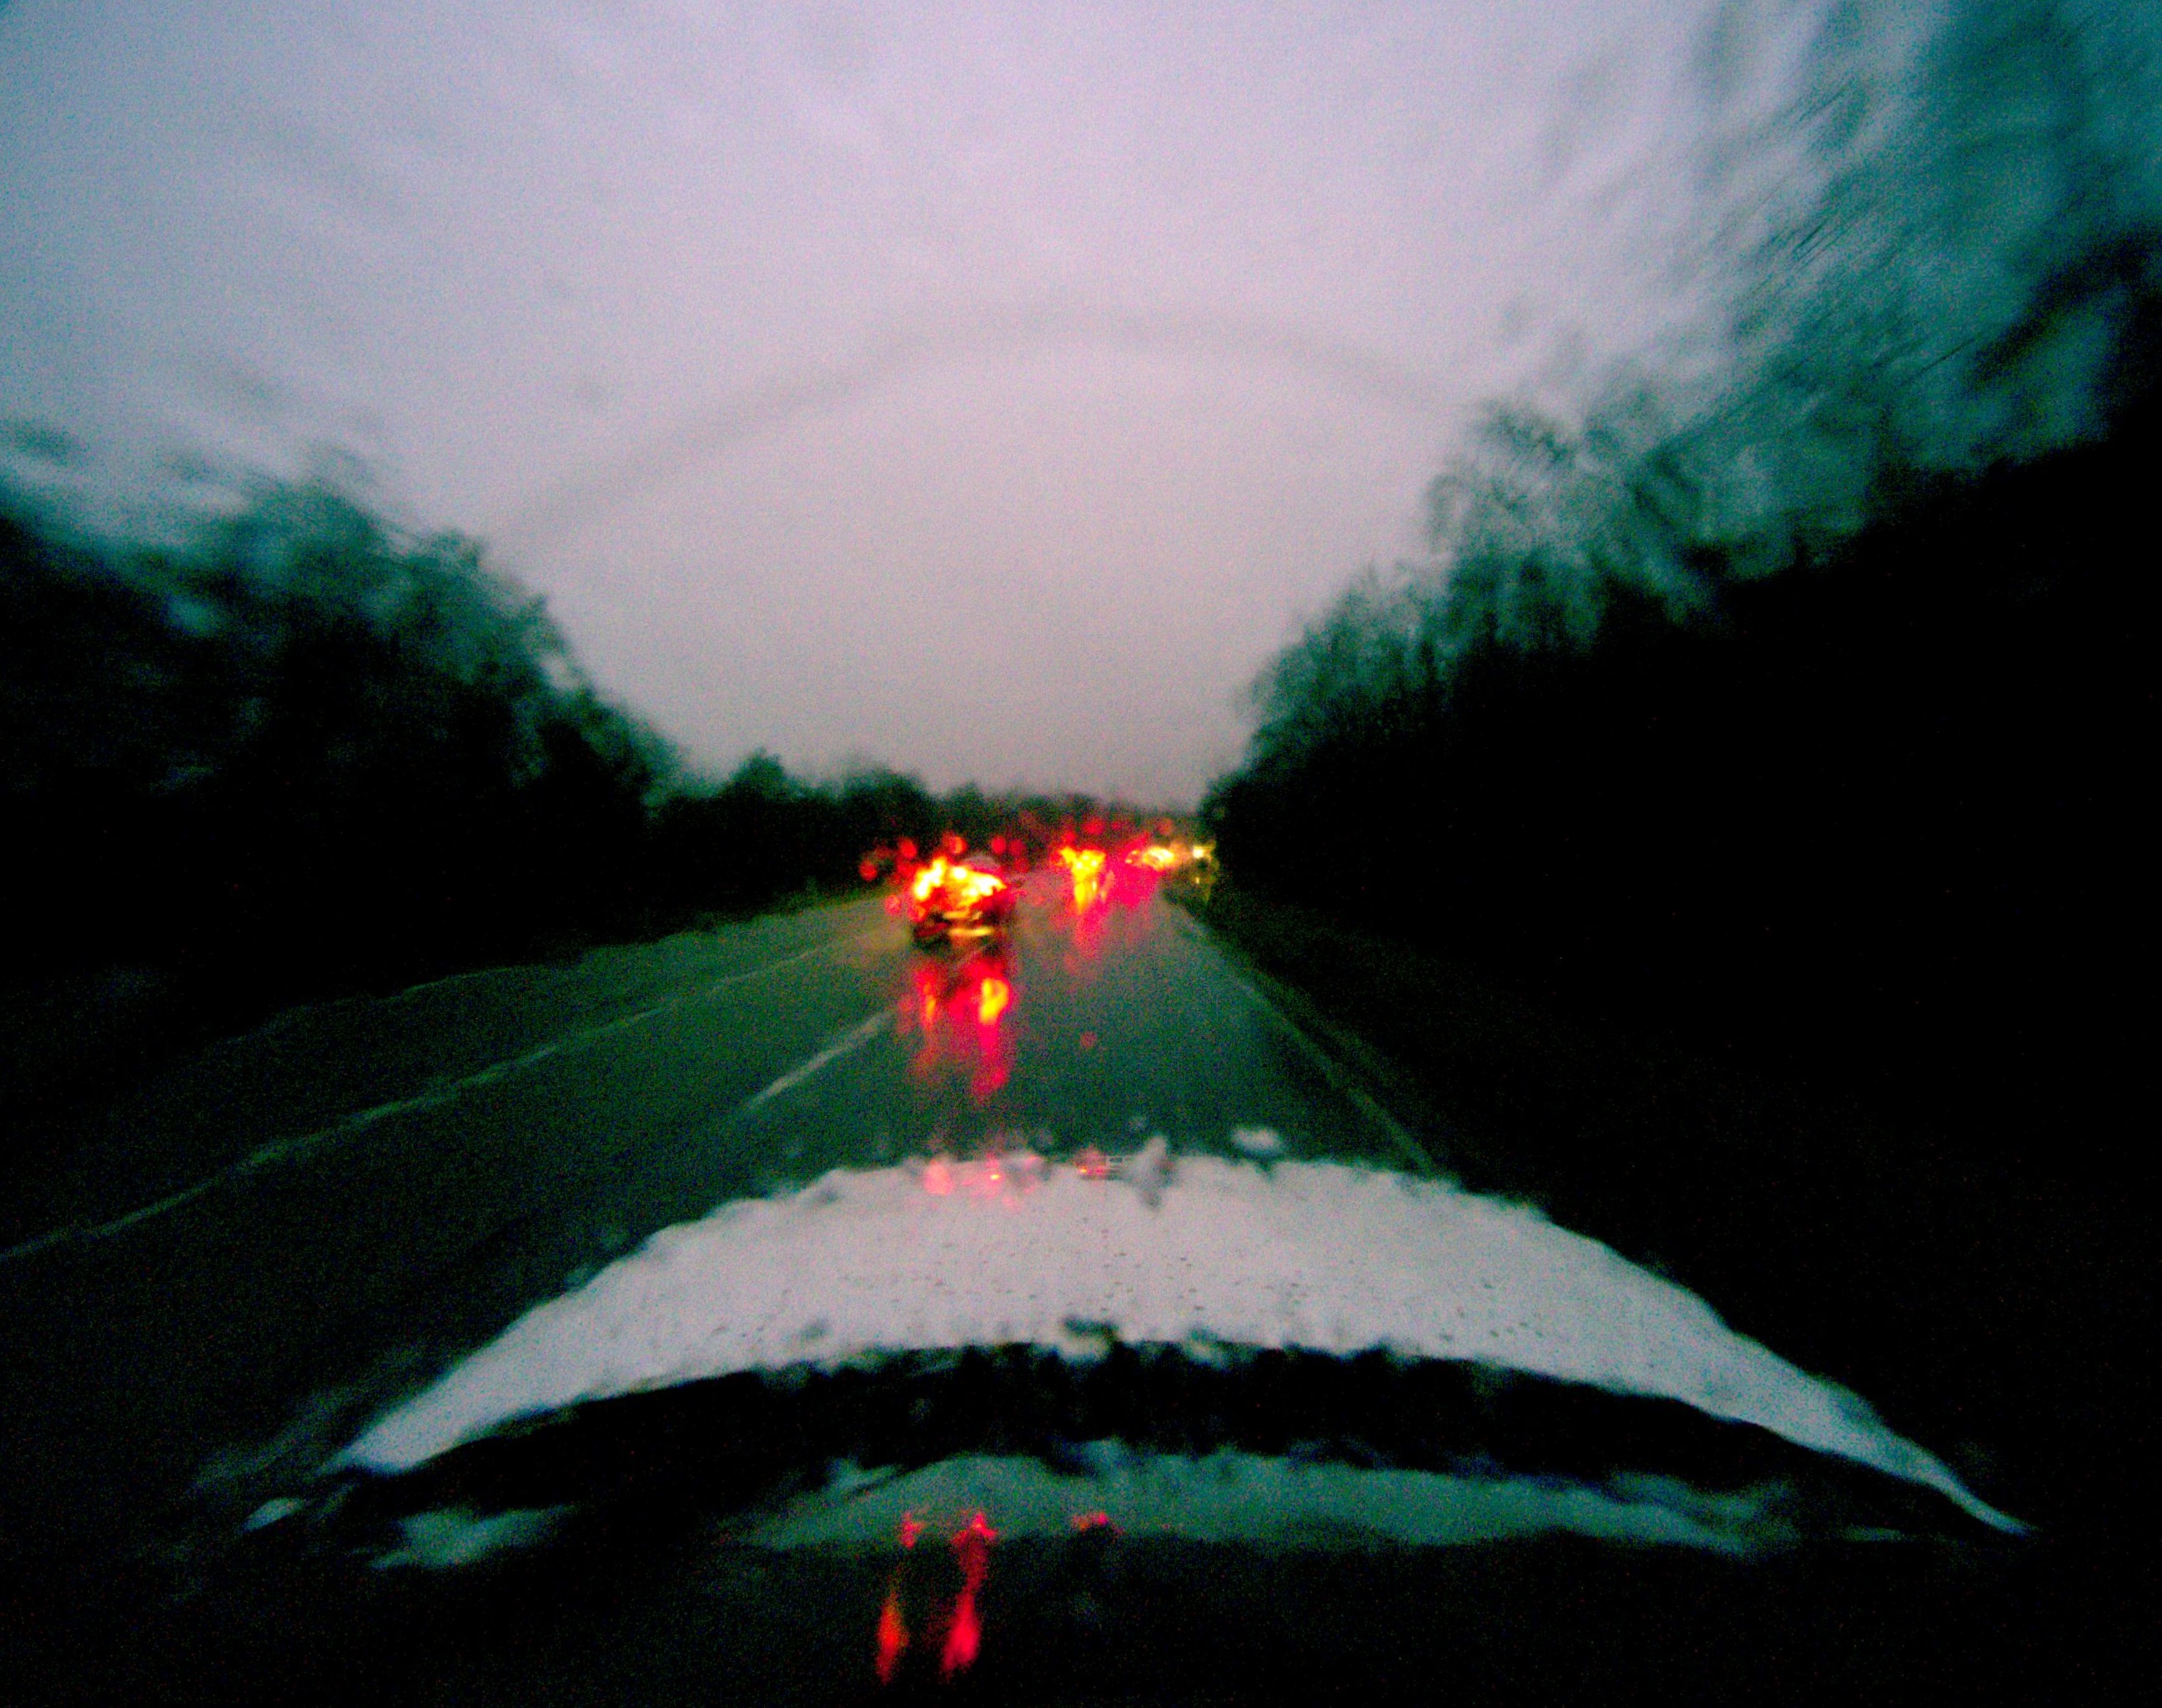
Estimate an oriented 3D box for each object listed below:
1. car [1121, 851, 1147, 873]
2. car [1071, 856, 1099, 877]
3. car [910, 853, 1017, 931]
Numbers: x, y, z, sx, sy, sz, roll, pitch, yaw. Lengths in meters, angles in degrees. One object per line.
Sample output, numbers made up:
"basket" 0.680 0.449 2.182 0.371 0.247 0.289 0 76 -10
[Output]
"car" 3.756 0.520 57.269 1.670 1.389 4.105 -1 1 6
"car" 0.377 0.972 65.536 1.996 1.556 4.522 0 0 4
"car" -2.316 0.694 17.009 1.627 1.421 4.170 1 0 0
